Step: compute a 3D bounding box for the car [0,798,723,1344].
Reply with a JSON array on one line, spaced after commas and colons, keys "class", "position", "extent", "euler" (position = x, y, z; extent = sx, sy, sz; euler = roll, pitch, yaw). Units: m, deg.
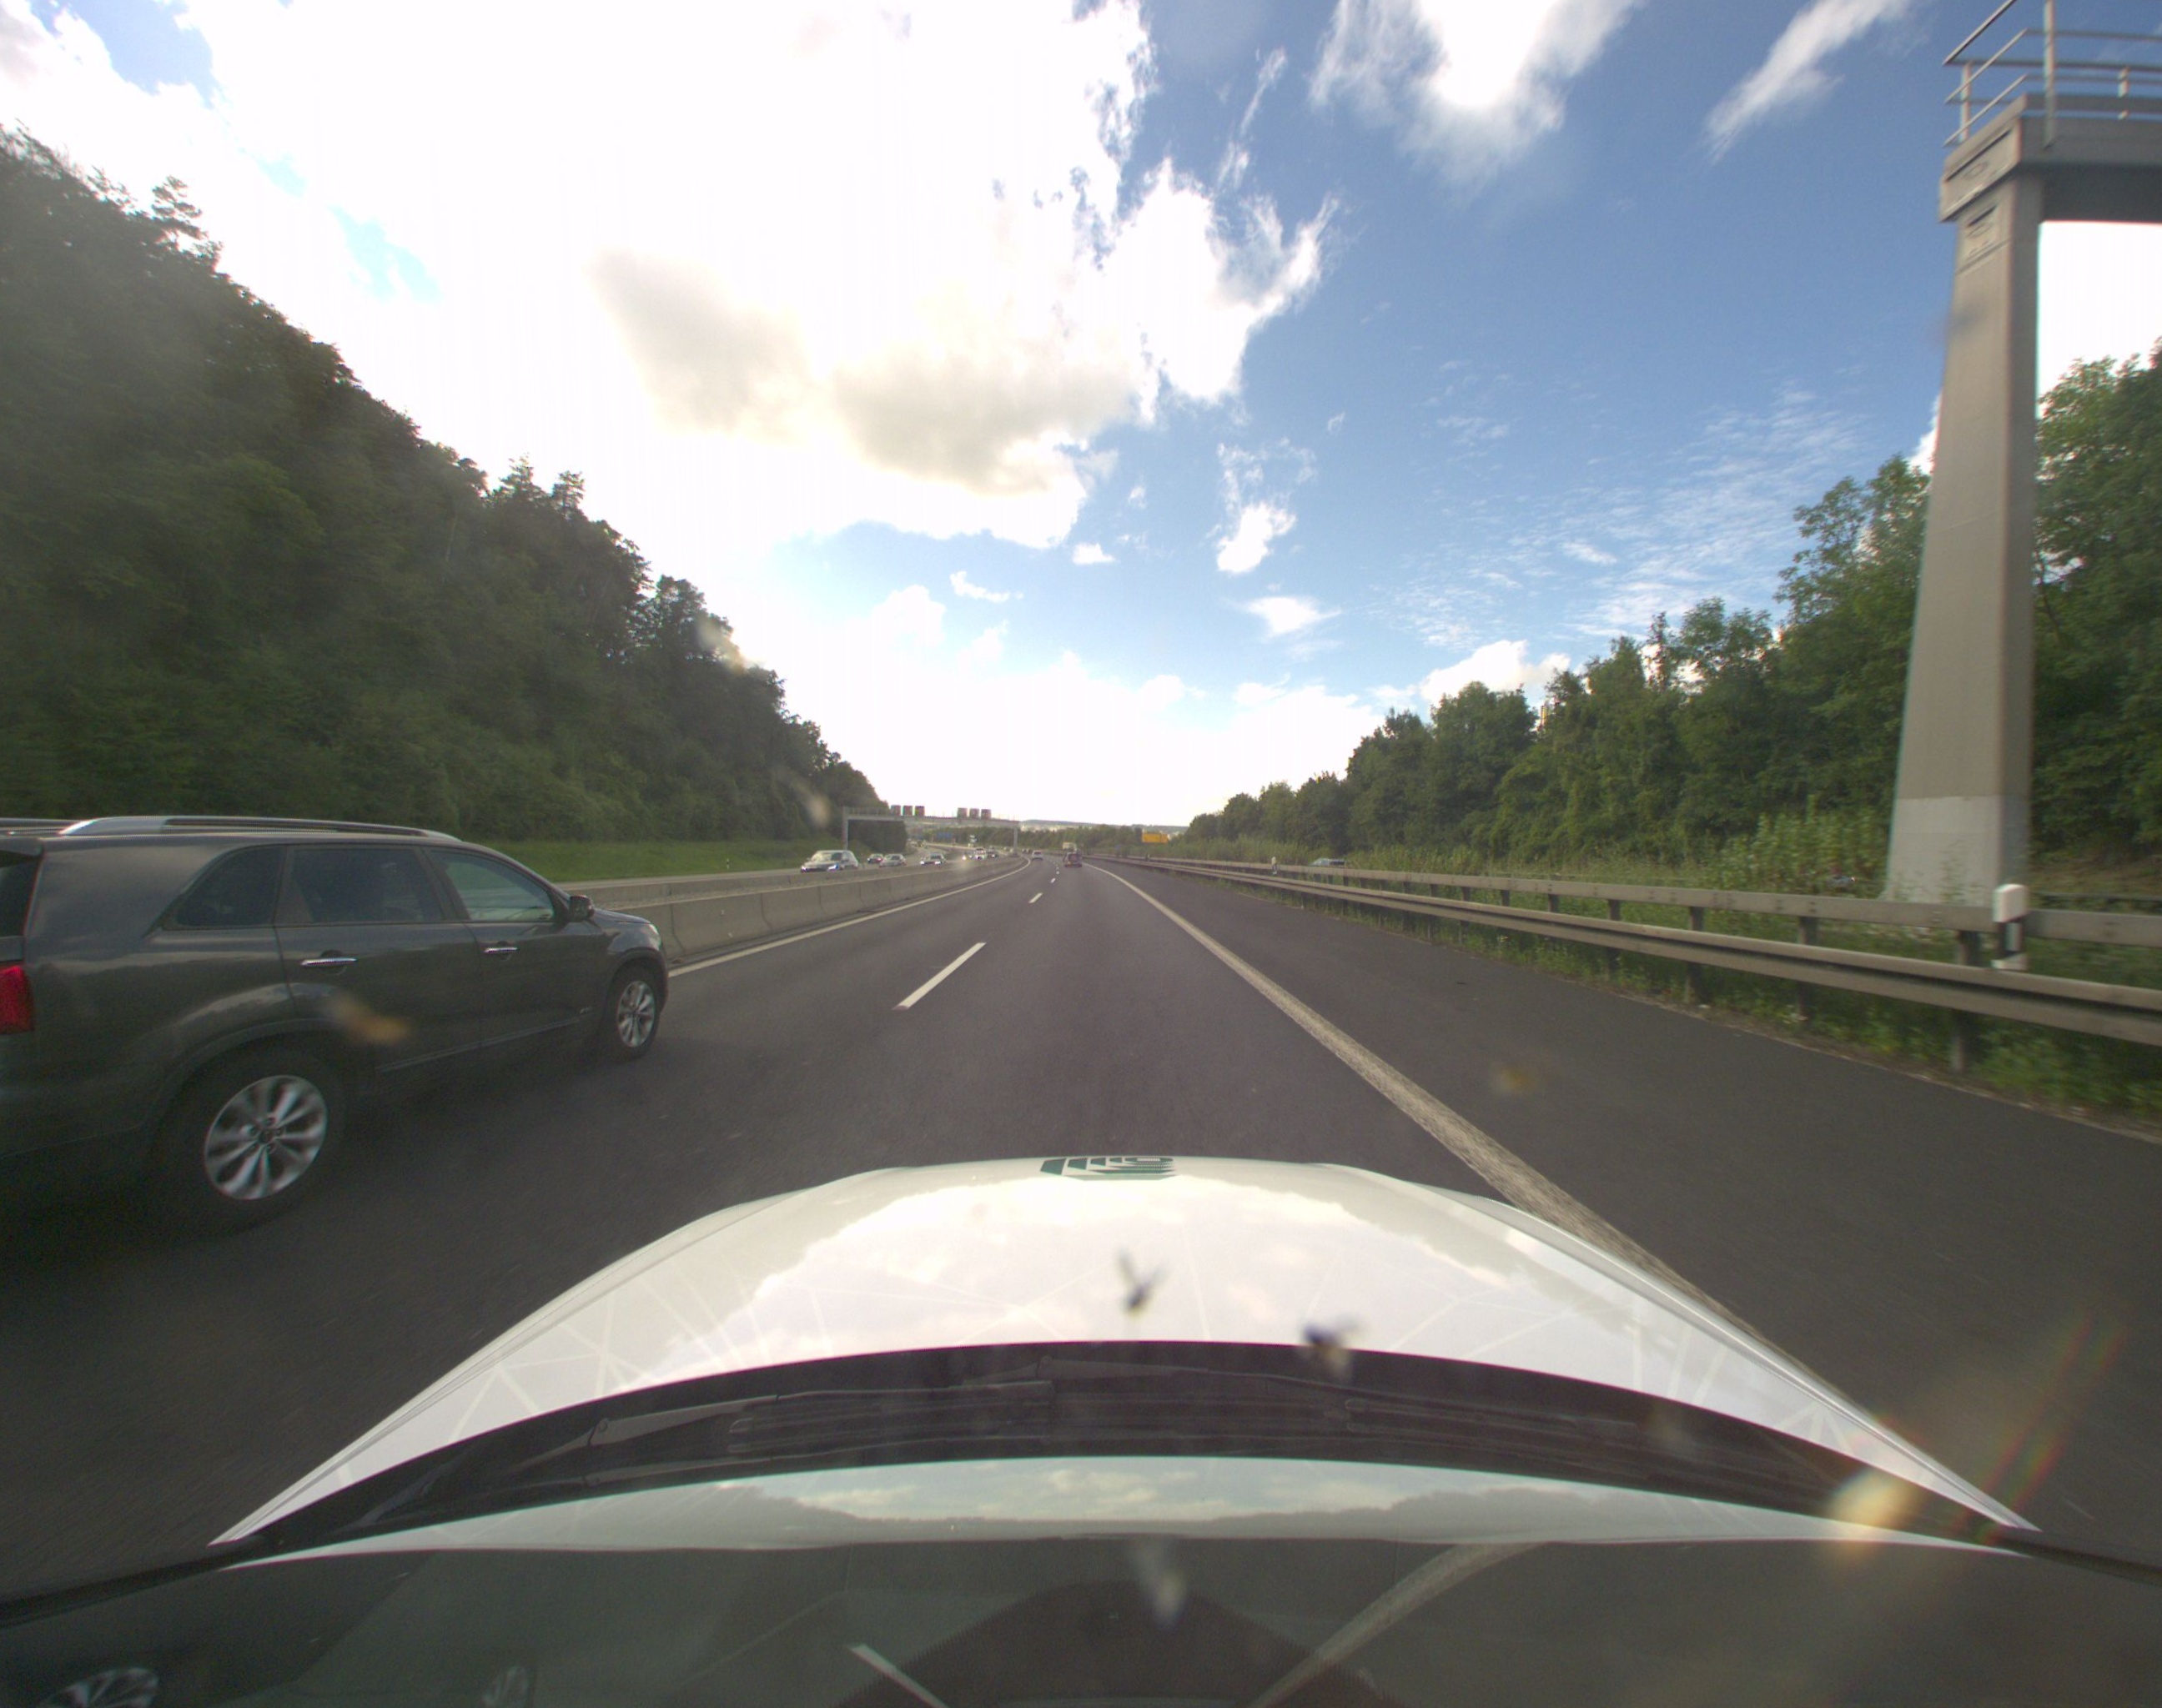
[{"class": "car", "position": [-4.249, 0.684, 4.779], "extent": [1.810, 1.736, 5.190], "euler": [0, 0, 2]}]

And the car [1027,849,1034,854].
[{"class": "car", "position": [-15.650, -0.727, 252.907], "extent": [1.605, 1.558, 3.986], "euler": [0, -1, -10]}]

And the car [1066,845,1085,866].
[{"class": "car", "position": [-0.639, 0.146, 88.195], "extent": [2.024, 2.151, 3.999], "euler": [0, 1, -1]}]

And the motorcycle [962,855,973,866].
[{"class": "motorcycle", "position": [-12.924, 0.715, 93.017], "extent": [0.920, 1.188, 2.638], "euler": [0, 0, -1]}]

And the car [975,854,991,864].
[{"class": "car", "position": [-14.610, 0.729, 121.545], "extent": [1.755, 1.460, 4.294], "euler": [0, 0, 0]}]

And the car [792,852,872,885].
[{"class": "car", "position": [-12.271, 0.674, 40.649], "extent": [1.975, 1.510, 5.963], "euler": [0, 0, 2]}]

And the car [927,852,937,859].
[{"class": "car", "position": [-33.642, 0.303, 183.520], "extent": [1.802, 1.574, 4.549], "euler": [0, 0, -6]}]

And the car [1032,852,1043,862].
[{"class": "car", "position": [-7.821, 0.512, 146.111], "extent": [1.989, 1.684, 3.995], "euler": [0, -1, -3]}]

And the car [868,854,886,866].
[{"class": "car", "position": [-27.887, 0.822, 111.626], "extent": [1.735, 1.510, 3.994], "euler": [0, 0, -4]}]

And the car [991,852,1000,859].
[{"class": "car", "position": [-18.770, 0.272, 179.752], "extent": [1.695, 1.539, 4.496], "euler": [0, 0, -3]}]

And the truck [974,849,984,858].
[{"class": "truck", "position": [-27.792, -0.144, 222.026], "extent": [2.179, 2.226, 5.565], "euler": [0, 0, -3]}]

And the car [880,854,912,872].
[{"class": "car", "position": [-16.300, 0.780, 71.984], "extent": [1.909, 1.510, 4.000], "euler": [0, 0, 0]}]

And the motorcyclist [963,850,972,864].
[{"class": "motorcyclist", "position": [-12.923, 0.307, 92.901], "extent": [0.892, 1.633, 0.922], "euler": [0, 0, 0]}]

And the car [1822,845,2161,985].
[{"class": "car", "position": [12.562, 0.645, 10.461], "extent": [1.779, 1.519, 4.673], "euler": [0, 0, -2]}]

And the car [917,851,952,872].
[{"class": "car", "position": [-12.071, 0.608, 67.312], "extent": [1.986, 1.627, 4.778], "euler": [0, -1, 1]}]

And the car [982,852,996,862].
[{"class": "car", "position": [-15.767, 0.473, 139.397], "extent": [1.870, 1.697, 4.313], "euler": [0, 0, 0]}]

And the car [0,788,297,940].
[{"class": "car", "position": [-16.197, 0.138, 11.638], "extent": [2.194, 2.130, 8.074], "euler": [0, 0, 0]}]

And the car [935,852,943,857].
[{"class": "car", "position": [-35.820, 0.128, 205.416], "extent": [1.820, 1.311, 4.178], "euler": [0, 0, -6]}]

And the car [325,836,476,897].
[{"class": "car", "position": [-24.280, 0.417, 29.278], "extent": [1.986, 2.034, 4.001], "euler": [0, 0, 1]}]

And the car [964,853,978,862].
[{"class": "car", "position": [-19.837, 0.592, 146.920], "extent": [1.987, 1.539, 4.738], "euler": [0, 0, 0]}]
